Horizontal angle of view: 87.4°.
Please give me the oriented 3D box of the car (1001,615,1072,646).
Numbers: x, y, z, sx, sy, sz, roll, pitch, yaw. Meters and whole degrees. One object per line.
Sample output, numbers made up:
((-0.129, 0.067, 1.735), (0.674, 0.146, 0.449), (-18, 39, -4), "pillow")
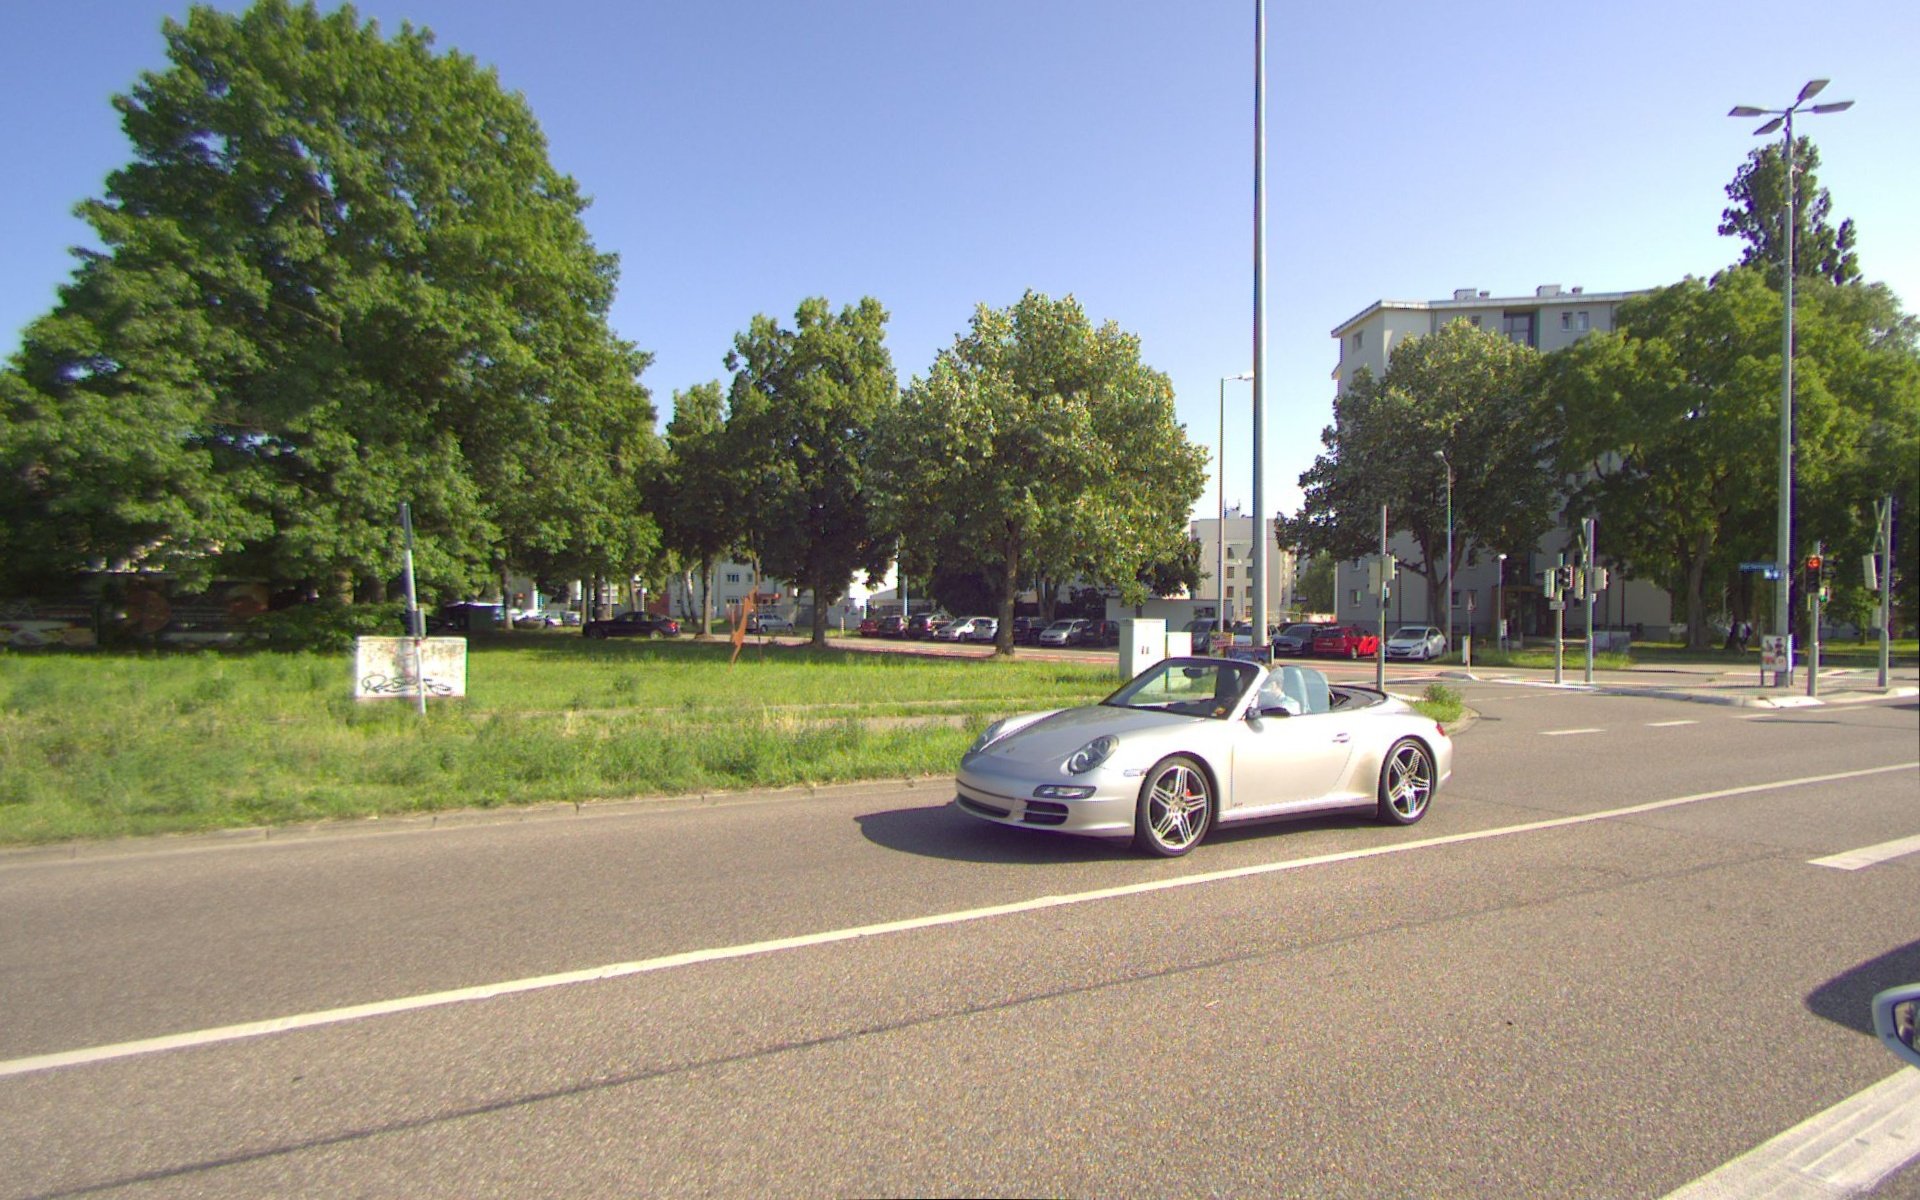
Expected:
((4.603, 1.804, 59.883), (1.758, 1.497, 4.791), (0, 3, 39), "car")

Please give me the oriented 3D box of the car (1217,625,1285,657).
((14.696, 2.025, 50.563), (1.759, 1.541, 3.979), (0, -1, 41), "car")

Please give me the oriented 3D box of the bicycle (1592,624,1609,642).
((40.842, 2.102, 64.108), (0.601, 1.080, 1.916), (1, -2, 24), "bicycle")

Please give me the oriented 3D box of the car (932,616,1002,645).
((0.504, 1.871, 62.700), (1.758, 1.497, 4.791), (0, 2, 39), "car")

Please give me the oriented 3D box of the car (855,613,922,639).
((-4.812, 1.757, 68.344), (1.758, 1.497, 4.791), (0, 2, 39), "car")

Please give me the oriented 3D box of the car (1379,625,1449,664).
((20.569, 1.971, 45.419), (1.760, 1.459, 3.977), (0, 2, 43), "car")

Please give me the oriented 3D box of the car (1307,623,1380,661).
((18.100, 1.952, 47.331), (1.761, 1.435, 3.975), (0, 3, 44), "car")

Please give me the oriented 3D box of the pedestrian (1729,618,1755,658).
((34.731, 1.682, 44.618), (0.693, 1.736, 0.623), (1, 0, -18), "pedestrian")

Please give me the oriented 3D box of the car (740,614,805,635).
((-14.205, 1.870, 76.315), (1.760, 1.497, 4.786), (0, -1, 43), "car")

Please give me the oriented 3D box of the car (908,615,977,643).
((-1.068, 1.821, 64.624), (1.758, 1.497, 4.791), (0, 2, 39), "car")

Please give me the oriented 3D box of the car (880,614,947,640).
((-3.049, 1.764, 66.877), (1.758, 1.497, 4.791), (0, 2, 39), "car")

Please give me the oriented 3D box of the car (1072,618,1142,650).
((8.419, 1.899, 57.153), (1.758, 1.497, 4.791), (0, 2, 39), "car")

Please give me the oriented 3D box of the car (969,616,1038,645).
((2.702, 1.826, 61.458), (1.758, 1.497, 4.755), (0, 2, 39), "car")

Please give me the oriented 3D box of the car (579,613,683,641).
((-16.243, 1.334, 49.817), (4.682, 1.338, 1.524), (1, -1, -8), "car")

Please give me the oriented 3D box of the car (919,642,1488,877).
((1.963, 1.019, 7.780), (4.235, 1.327, 1.771), (1, -1, -30), "car")

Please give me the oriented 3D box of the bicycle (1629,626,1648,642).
((42.671, 2.139, 63.167), (0.658, 0.932, 2.404), (1, -1, 26), "bicycle")

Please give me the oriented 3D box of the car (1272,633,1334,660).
((16.632, 2.210, 48.677), (1.445, 1.209, 3.765), (0, -1, 43), "car")

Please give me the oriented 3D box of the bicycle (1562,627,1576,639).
((39.358, 2.109, 64.939), (0.574, 0.718, 2.236), (1, 0, 26), "bicycle")

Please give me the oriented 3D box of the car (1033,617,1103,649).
((6.262, 1.843, 57.807), (1.758, 1.497, 4.692), (0, 3, 39), "car")

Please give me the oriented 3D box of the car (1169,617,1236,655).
((12.674, 1.853, 52.401), (1.759, 1.835, 3.979), (0, -1, 41), "car")
